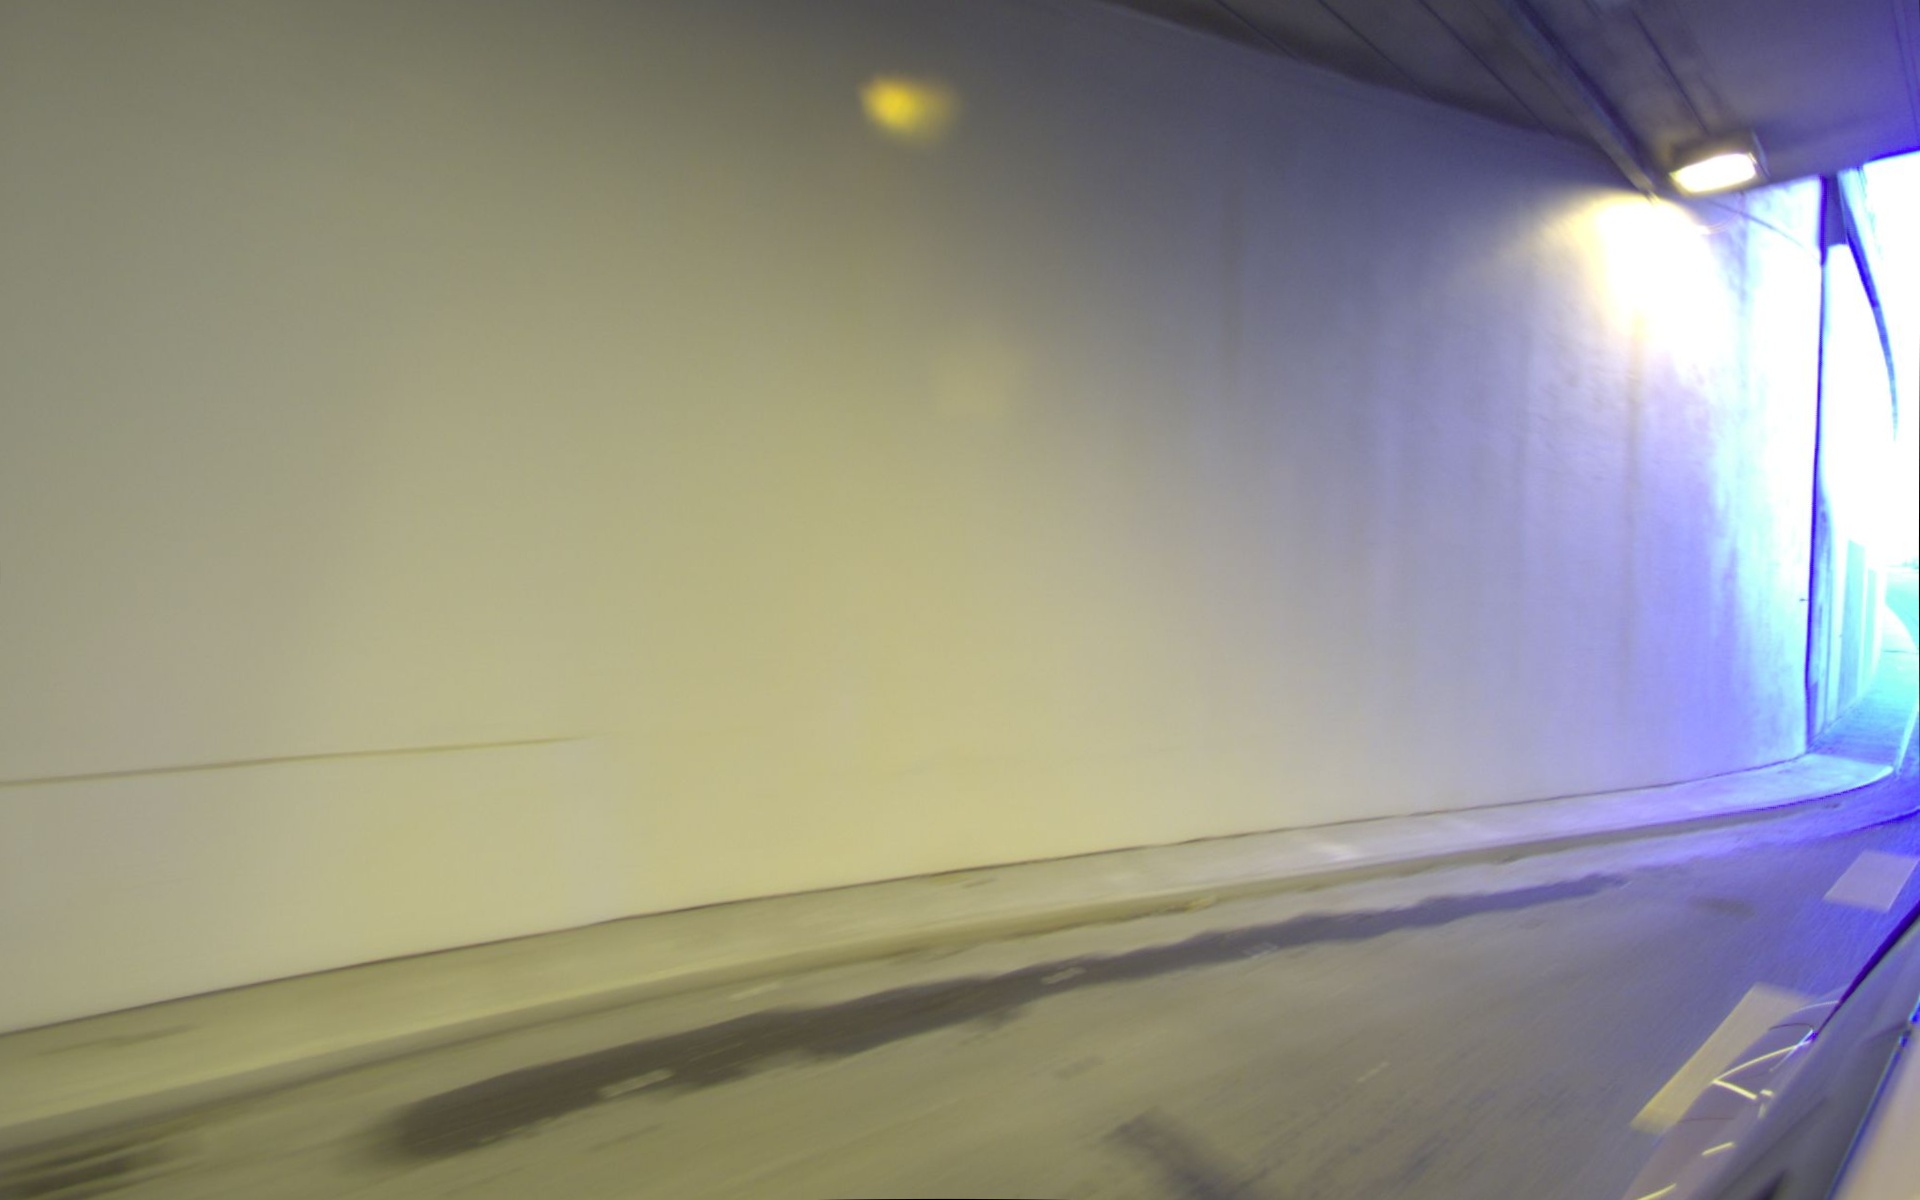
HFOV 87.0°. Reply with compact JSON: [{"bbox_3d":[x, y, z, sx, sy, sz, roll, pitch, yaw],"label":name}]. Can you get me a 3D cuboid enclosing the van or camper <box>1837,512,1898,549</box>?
[{"bbox_3d":[70.179,-5.388,78.351,2.183,2.644,6.754,-1,3,31],"label":"van or camper"}]
